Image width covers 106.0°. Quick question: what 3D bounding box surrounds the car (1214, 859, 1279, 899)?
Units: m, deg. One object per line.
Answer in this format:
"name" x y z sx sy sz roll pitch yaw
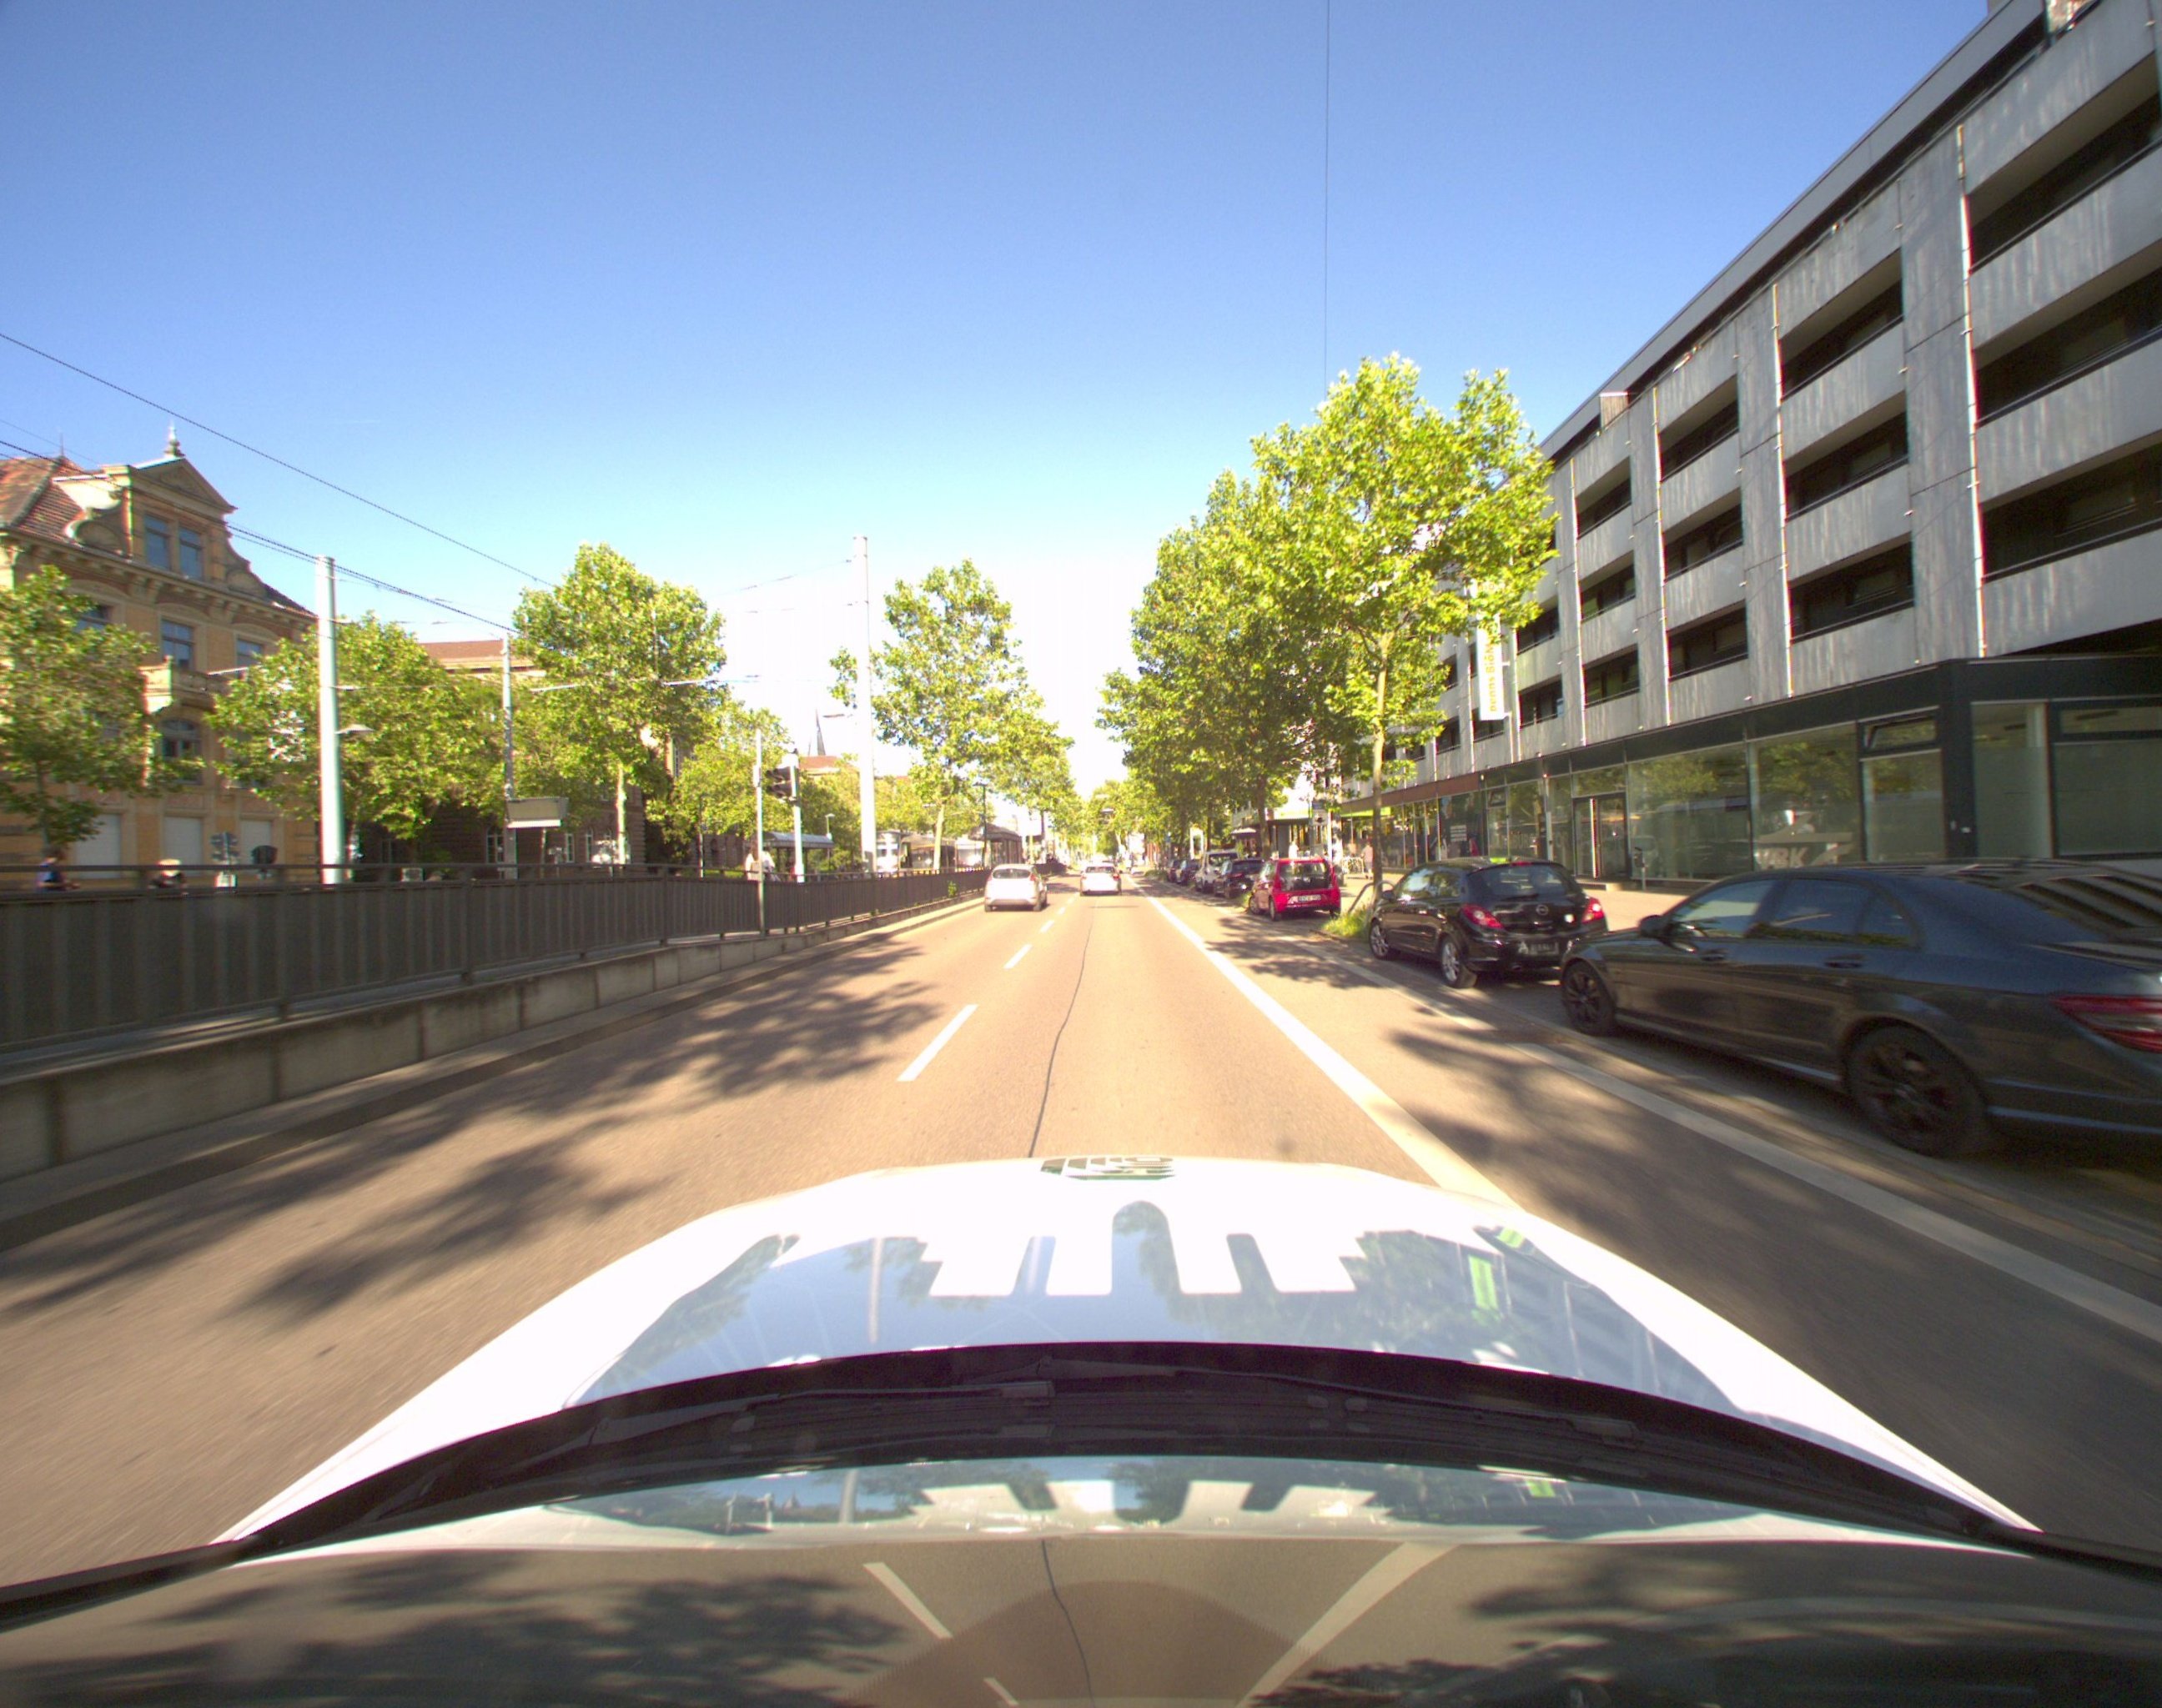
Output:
"car" 6.068 0.879 30.258 1.774 1.381 4.002 0 -1 2

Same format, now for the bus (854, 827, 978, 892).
"bus" -11.003 0.252 58.968 2.857 3.628 24.618 -2 0 2

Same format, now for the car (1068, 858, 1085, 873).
"car" -0.518 1.506 103.668 1.986 1.816 4.003 0 0 2

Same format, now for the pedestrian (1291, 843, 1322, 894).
"pedestrian" 9.175 0.593 33.190 0.960 2.014 0.939 -3 -1 2

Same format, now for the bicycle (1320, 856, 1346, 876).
"bicycle" 14.199 0.660 45.855 1.378 1.098 0.243 0 0 1

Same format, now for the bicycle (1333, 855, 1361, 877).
"bicycle" 14.075 0.610 43.055 1.378 1.148 0.243 0 0 1

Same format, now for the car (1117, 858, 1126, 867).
"car" 9.014 1.854 181.916 2.063 2.013 4.002 -3 -1 2

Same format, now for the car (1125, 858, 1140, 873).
"car" 6.440 1.453 101.666 1.802 1.791 3.914 0 0 2

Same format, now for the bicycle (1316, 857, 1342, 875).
"bicycle" 14.176 0.677 46.551 1.378 1.023 0.243 0 0 1

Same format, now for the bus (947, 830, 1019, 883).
"bus" -7.707 0.141 67.292 2.739 3.625 18.859 -2 0 2

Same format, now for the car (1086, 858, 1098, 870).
"car" 1.923 1.806 145.717 1.986 2.013 4.003 0 0 2

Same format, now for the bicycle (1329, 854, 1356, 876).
"bicycle" 14.051 0.596 43.720 1.378 1.148 0.243 0 0 1

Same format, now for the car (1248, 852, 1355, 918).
"car" 5.487 0.738 20.784 1.799 1.520 4.002 0 -1 2

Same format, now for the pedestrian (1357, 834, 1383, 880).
"pedestrian" 13.055 0.126 36.833 0.785 2.014 0.891 -3 -1 2

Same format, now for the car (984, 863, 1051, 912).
"car" -1.938 1.003 25.751 1.640 1.363 3.762 0 0 2

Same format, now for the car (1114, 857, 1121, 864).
"car" 10.324 1.782 232.821 1.986 2.013 4.003 0 0 2

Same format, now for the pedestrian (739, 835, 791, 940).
"pedestrian" -6.015 0.624 15.551 0.636 1.954 0.814 0 0 2

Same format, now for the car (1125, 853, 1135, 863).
"car" 10.271 0.906 169.723 1.986 2.013 4.001 0 0 1

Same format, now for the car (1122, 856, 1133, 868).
"car" 8.433 1.445 146.994 1.986 2.013 4.003 0 0 2

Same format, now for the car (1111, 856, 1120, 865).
"car" 8.360 1.530 197.558 1.986 2.013 4.003 0 0 2

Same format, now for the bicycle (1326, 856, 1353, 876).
"bicycle" 14.090 0.635 44.358 1.378 1.058 0.243 0 0 1

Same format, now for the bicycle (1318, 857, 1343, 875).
"bicycle" 14.166 0.671 46.275 1.378 1.012 0.243 0 0 1

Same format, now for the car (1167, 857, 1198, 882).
"car" 6.512 0.983 52.498 1.694 1.534 3.719 0 0 2

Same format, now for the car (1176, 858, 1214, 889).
"car" 6.257 1.042 45.176 1.704 1.563 4.003 0 0 2

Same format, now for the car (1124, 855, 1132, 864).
"car" 11.019 1.326 192.754 1.867 2.013 3.713 0 0 2

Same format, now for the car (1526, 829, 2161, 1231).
"car" 5.093 0.683 5.340 1.986 1.509 4.600 0 -1 2

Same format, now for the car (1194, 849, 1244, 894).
"car" 6.044 0.733 36.034 1.718 1.880 4.002 0 0 2

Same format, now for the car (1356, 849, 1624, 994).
"car" 5.050 0.720 10.718 1.663 1.551 4.002 0 0 2

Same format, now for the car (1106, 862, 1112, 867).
"car" 8.909 3.213 257.463 1.986 1.587 4.003 0 0 2

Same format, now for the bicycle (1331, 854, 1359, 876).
"bicycle" 14.064 0.604 43.399 1.378 1.148 0.243 0 0 1

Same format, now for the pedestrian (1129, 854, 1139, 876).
"pedestrian" 5.093 1.052 78.268 0.833 2.013 0.650 0 0 9

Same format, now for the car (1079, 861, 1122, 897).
"car" 0.867 1.071 35.831 1.756 1.432 4.001 -2 -1 1

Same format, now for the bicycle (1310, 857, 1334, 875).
"bicycle" 14.184 0.704 47.943 1.378 1.028 0.243 0 0 1

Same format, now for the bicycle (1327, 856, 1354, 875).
"bicycle" 14.051 0.621 44.049 1.378 1.055 0.243 0 0 1

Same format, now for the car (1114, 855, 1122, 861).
"car" 9.908 1.046 218.660 1.986 1.698 4.002 -2 0 2
